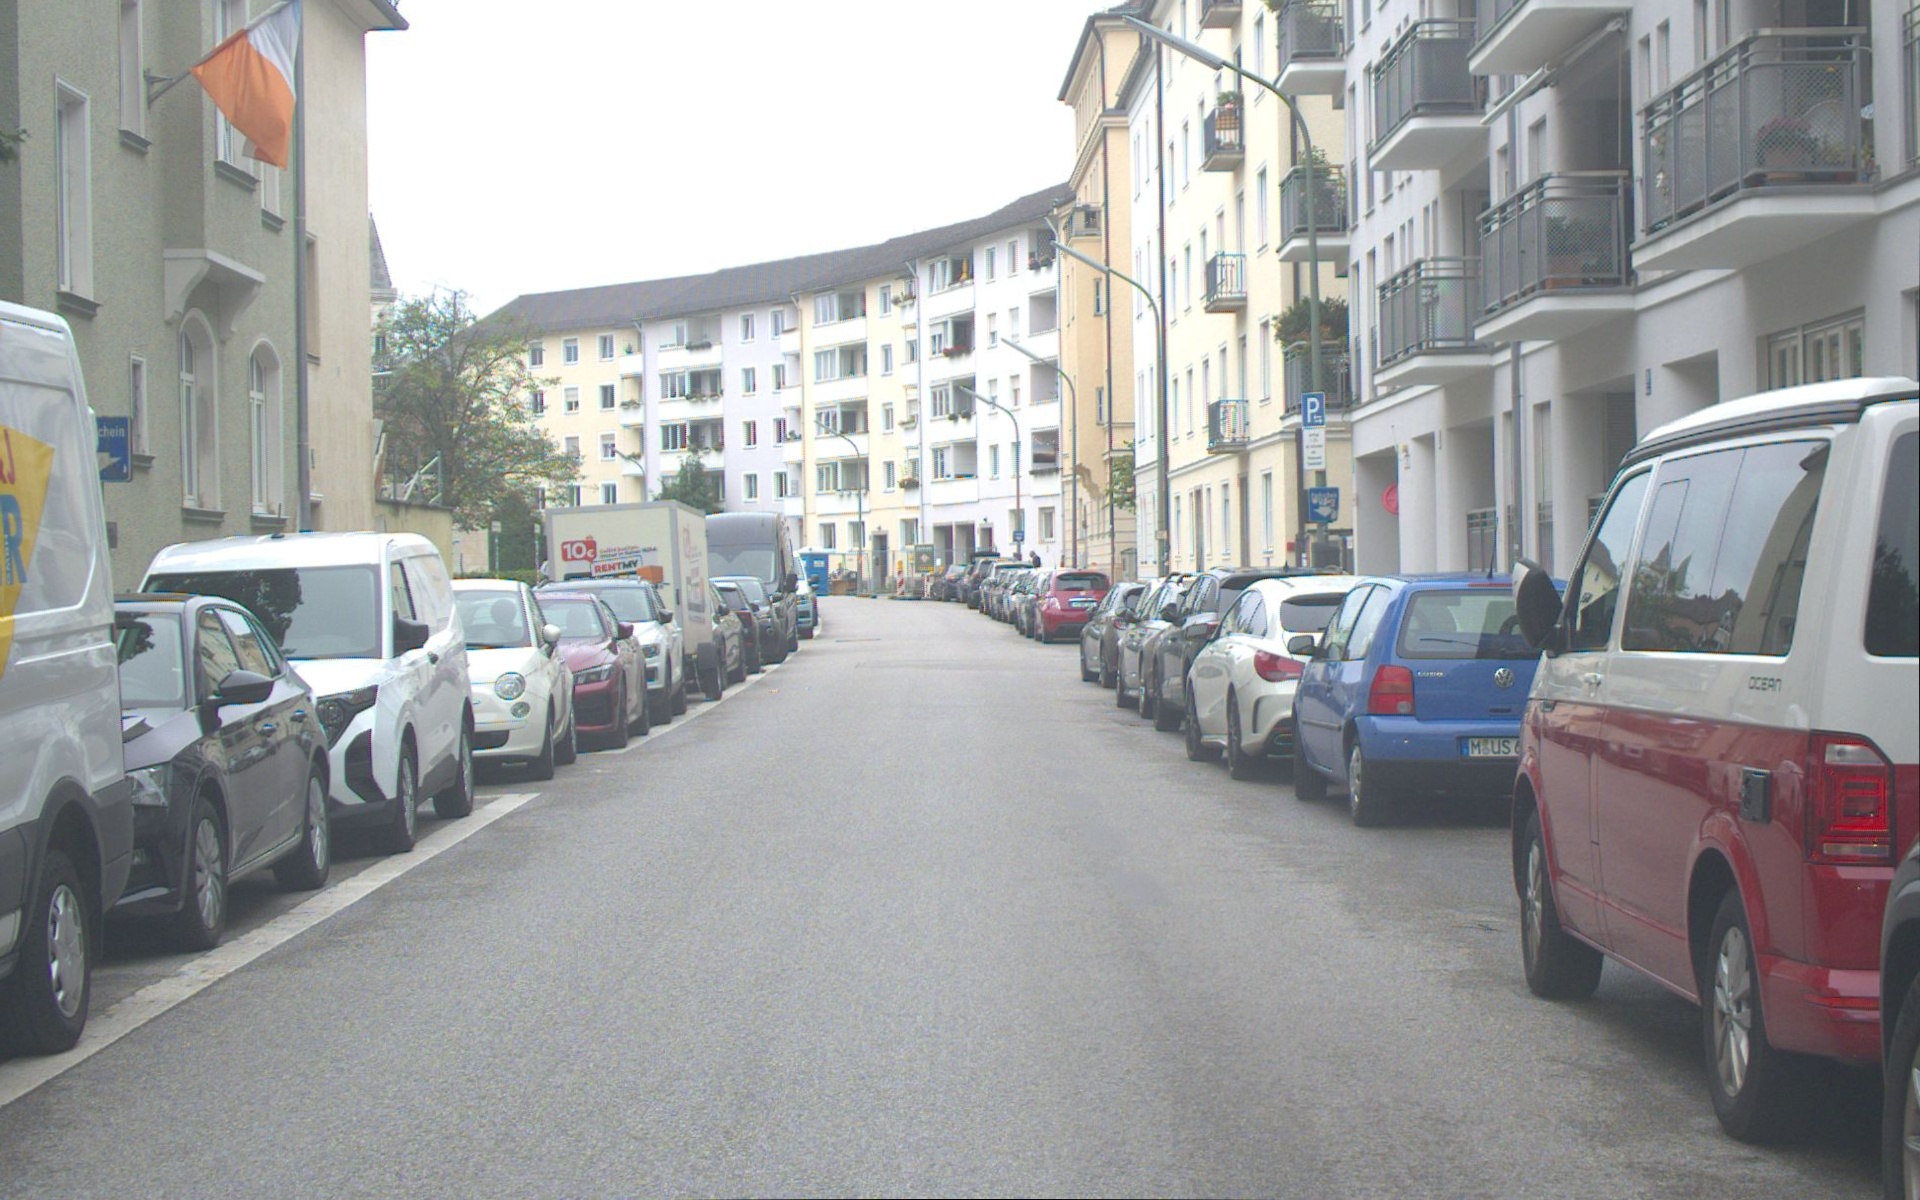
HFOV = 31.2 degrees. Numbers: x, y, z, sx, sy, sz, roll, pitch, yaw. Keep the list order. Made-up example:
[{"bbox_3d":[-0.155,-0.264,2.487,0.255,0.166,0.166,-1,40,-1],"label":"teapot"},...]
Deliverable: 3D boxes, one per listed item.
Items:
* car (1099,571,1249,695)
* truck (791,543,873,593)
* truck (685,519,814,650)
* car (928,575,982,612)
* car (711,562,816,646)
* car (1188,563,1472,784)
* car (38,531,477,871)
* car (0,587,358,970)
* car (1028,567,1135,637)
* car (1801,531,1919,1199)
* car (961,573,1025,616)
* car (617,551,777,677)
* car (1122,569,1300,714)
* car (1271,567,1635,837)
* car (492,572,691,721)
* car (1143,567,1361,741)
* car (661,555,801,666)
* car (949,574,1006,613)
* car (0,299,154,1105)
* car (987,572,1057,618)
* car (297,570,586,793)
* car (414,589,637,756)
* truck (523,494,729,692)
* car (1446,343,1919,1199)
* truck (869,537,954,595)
[{"bbox_3d":[2.635,0.379,43.100,1.649,1.429,4.284,-1,0,1],"label":"car"},{"bbox_3d":[-6.007,-1.512,160.616,2.621,2.292,5.442,-1,1,-15],"label":"truck"},{"bbox_3d":[-3.917,-0.300,64.667,1.993,2.311,5.410,-1,0,1],"label":"truck"},{"bbox_3d":[-0.204,-0.246,131.998,1.782,1.380,4.001,0,1,-4],"label":"car"},{"bbox_3d":[-4.329,0.067,76.361,1.993,1.756,4.381,-1,0,1],"label":"car"},{"bbox_3d":[2.599,0.478,24.903,1.649,1.429,4.000,-1,0,1],"label":"car"},{"bbox_3d":[-3.902,0.509,19.732,1.820,1.705,4.000,-1,0,-2],"label":"car"},{"bbox_3d":[-3.858,0.688,15.117,1.744,1.440,4.000,-1,0,-1],"label":"car"},{"bbox_3d":[2.471,0.017,70.778,1.782,1.380,4.001,0,1,-4],"label":"car"},{"bbox_3d":[2.701,0.633,4.606,1.859,1.546,4.753,-1,0,-1],"label":"car"},{"bbox_3d":[1.084,-0.185,114.618,1.782,1.380,4.001,0,1,-4],"label":"car"},{"bbox_3d":[-3.891,0.190,51.551,1.993,1.756,4.381,-1,0,1],"label":"car"},{"bbox_3d":[2.648,0.412,36.966,1.649,1.429,4.000,-1,0,1],"label":"car"},{"bbox_3d":[2.853,0.546,20.567,1.608,1.429,3.619,-1,0,0],"label":"car"},{"bbox_3d":[-3.878,0.461,36.702,1.795,1.464,3.867,-1,0,-2],"label":"car"},{"bbox_3d":[2.575,0.446,31.028,1.649,1.429,4.000,-1,0,1],"label":"car"},{"bbox_3d":[-3.825,0.152,58.141,1.993,1.756,4.381,-1,0,1],"label":"car"},{"bbox_3d":[0.632,-0.233,125.674,1.782,1.380,4.001,0,1,-4],"label":"car"},{"bbox_3d":[-3.867,0.317,9.136,2.137,2.341,5.370,-1,0,0],"label":"car"},{"bbox_3d":[1.892,-0.159,106.052,1.782,1.380,4.001,0,1,-4],"label":"car"},{"bbox_3d":[-3.887,0.568,26.344,1.846,1.535,4.001,-1,0,-4],"label":"car"},{"bbox_3d":[-3.858,0.605,31.059,1.751,1.364,4.001,-1,0,-4],"label":"car"},{"bbox_3d":[-4.153,-0.100,43.601,1.993,2.311,5.410,-1,0,1],"label":"truck"},{"bbox_3d":[2.800,0.365,10.289,1.869,1.961,4.817,-1,0,-1],"label":"car"},{"bbox_3d":[-1.997,-1.400,139.503,2.225,2.292,5.292,0,1,-14],"label":"truck"}]
